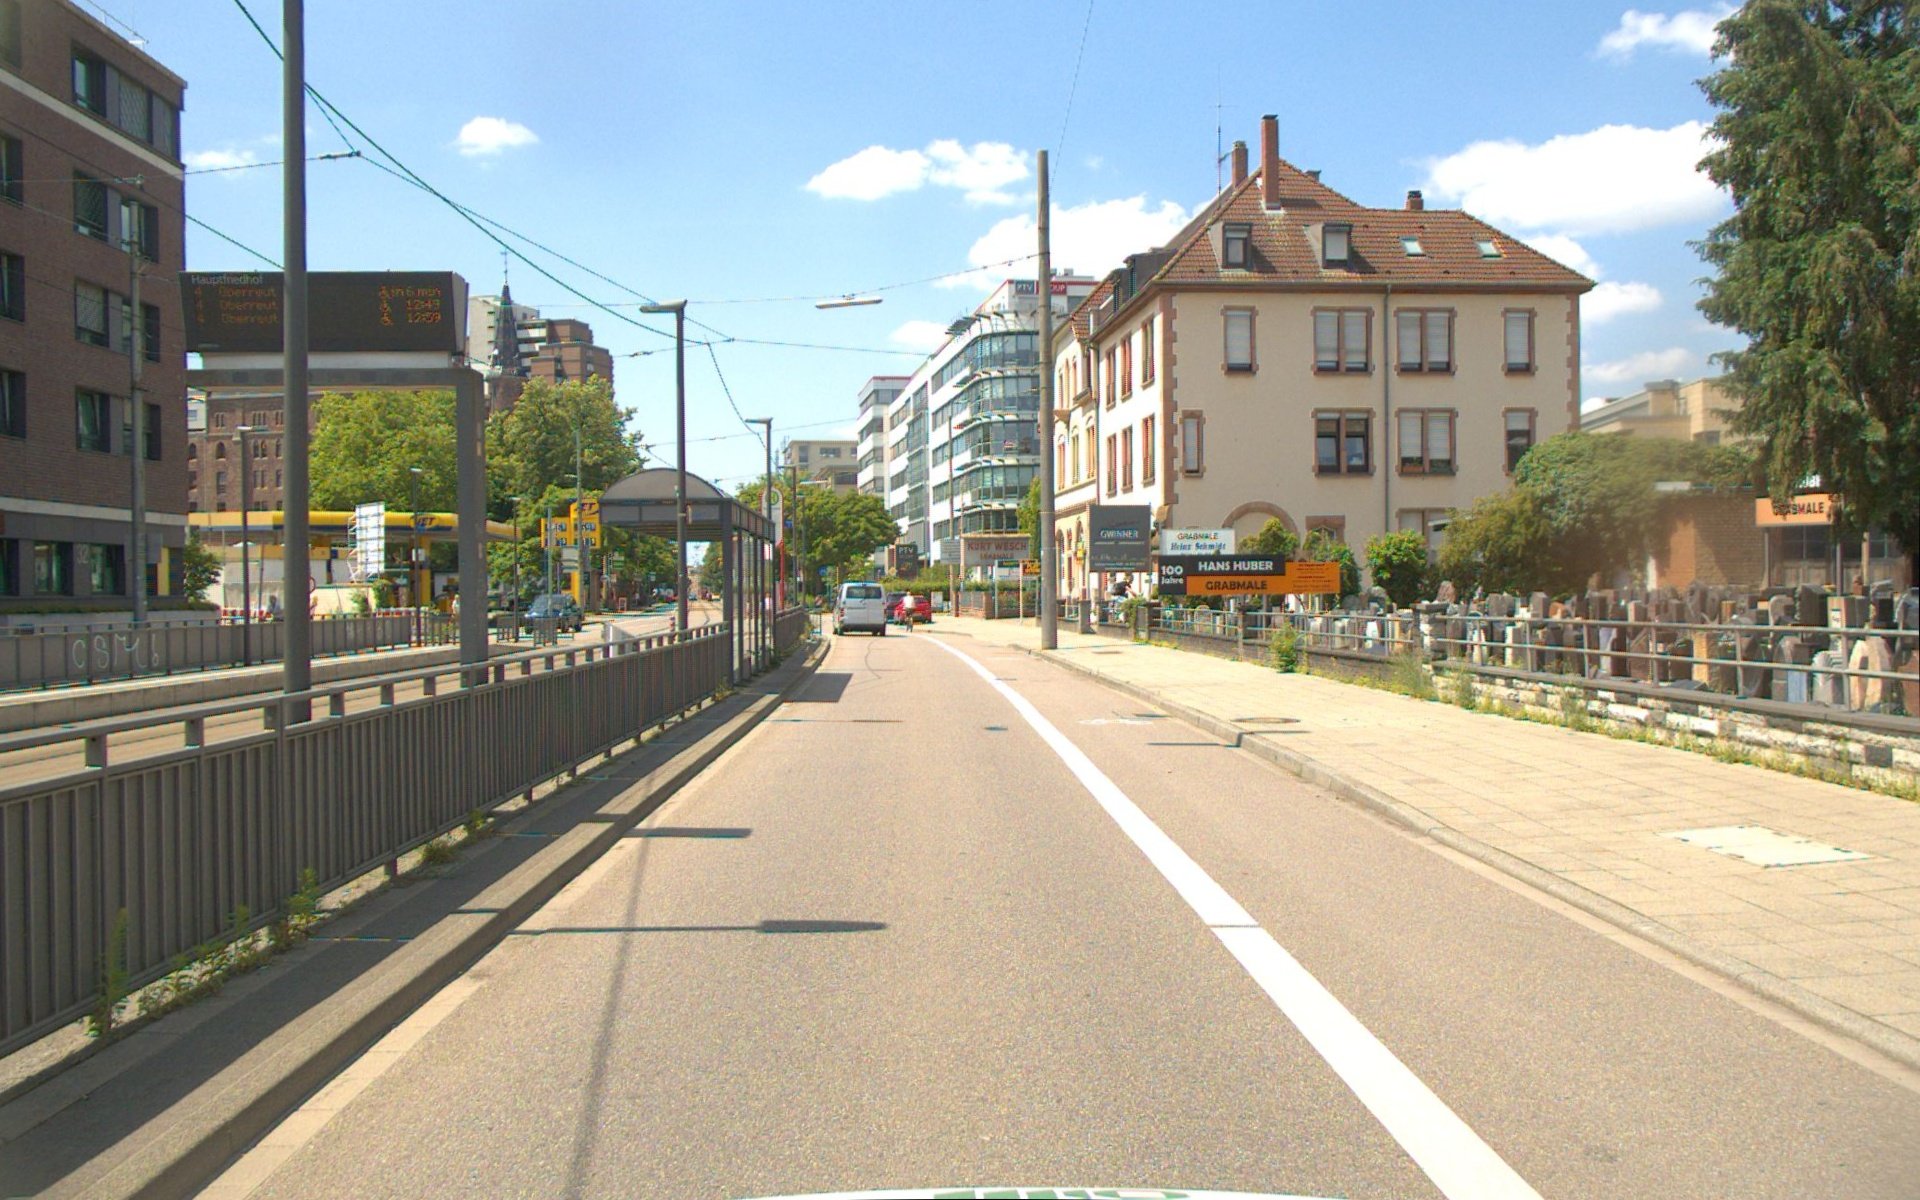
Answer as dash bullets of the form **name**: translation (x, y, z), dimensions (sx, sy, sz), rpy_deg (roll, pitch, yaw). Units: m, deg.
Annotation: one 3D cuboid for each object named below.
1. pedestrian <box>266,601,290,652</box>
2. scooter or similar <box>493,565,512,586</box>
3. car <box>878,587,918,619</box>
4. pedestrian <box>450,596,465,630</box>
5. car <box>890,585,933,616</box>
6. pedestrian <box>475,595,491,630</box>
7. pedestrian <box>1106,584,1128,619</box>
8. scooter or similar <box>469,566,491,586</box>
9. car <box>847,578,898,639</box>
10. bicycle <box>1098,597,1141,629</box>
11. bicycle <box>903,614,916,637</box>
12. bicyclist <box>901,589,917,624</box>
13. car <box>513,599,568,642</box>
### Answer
- **pedestrian**: translation (-19.153, 0.745, 46.464), dimensions (0.426, 1.408, 0.535), rpy_deg (-2, -1, -2)
- **scooter or similar**: translation (-34.228, -1.842, 123.730), dimensions (1.149, 1.492, 1.058), rpy_deg (-1, -1, -4)
- **car**: translation (-3.489, 0.139, 91.987), dimensions (1.827, 1.716, 4.993), rpy_deg (-1, 1, -7)
- **pedestrian**: translation (-24.625, 0.629, 81.031), dimensions (0.541, 1.687, 0.672), rpy_deg (0, 0, -2)
- **car**: translation (-2.564, 0.025, 85.888), dimensions (1.680, 1.478, 4.064), rpy_deg (-2, 1, -9)
- **pedestrian**: translation (-23.622, 0.613, 81.892), dimensions (0.568, 1.700, 0.667), rpy_deg (0, 0, -1)
- **pedestrian**: translation (4.965, 0.043, 52.277), dimensions (0.524, 1.072, 0.485), rpy_deg (-3, -1, 21)
- **scooter or similar**: translation (-35.902, -1.787, 123.740), dimensions (1.286, 1.492, 1.059), rpy_deg (-1, -1, 2)
- **car**: translation (-3.190, 0.281, 59.517), dimensions (1.718, 2.048, 3.997), rpy_deg (-2, 1, -4)
- **bicycle**: translation (5.040, 0.416, 52.253), dimensions (1.286, 0.956, 0.357), rpy_deg (-3, -2, 19)
- **bicycle**: translation (-2.101, 1.047, 68.570), dimensions (0.456, 0.903, 2.046), rpy_deg (0, 0, -5)
- **bicyclist**: translation (-2.132, 0.261, 68.553), dimensions (0.580, 1.421, 0.840), rpy_deg (0, 0, -8)
- **car**: translation (-18.095, 0.862, 71.505), dimensions (1.666, 1.644, 3.754), rpy_deg (-3, 1, -6)
